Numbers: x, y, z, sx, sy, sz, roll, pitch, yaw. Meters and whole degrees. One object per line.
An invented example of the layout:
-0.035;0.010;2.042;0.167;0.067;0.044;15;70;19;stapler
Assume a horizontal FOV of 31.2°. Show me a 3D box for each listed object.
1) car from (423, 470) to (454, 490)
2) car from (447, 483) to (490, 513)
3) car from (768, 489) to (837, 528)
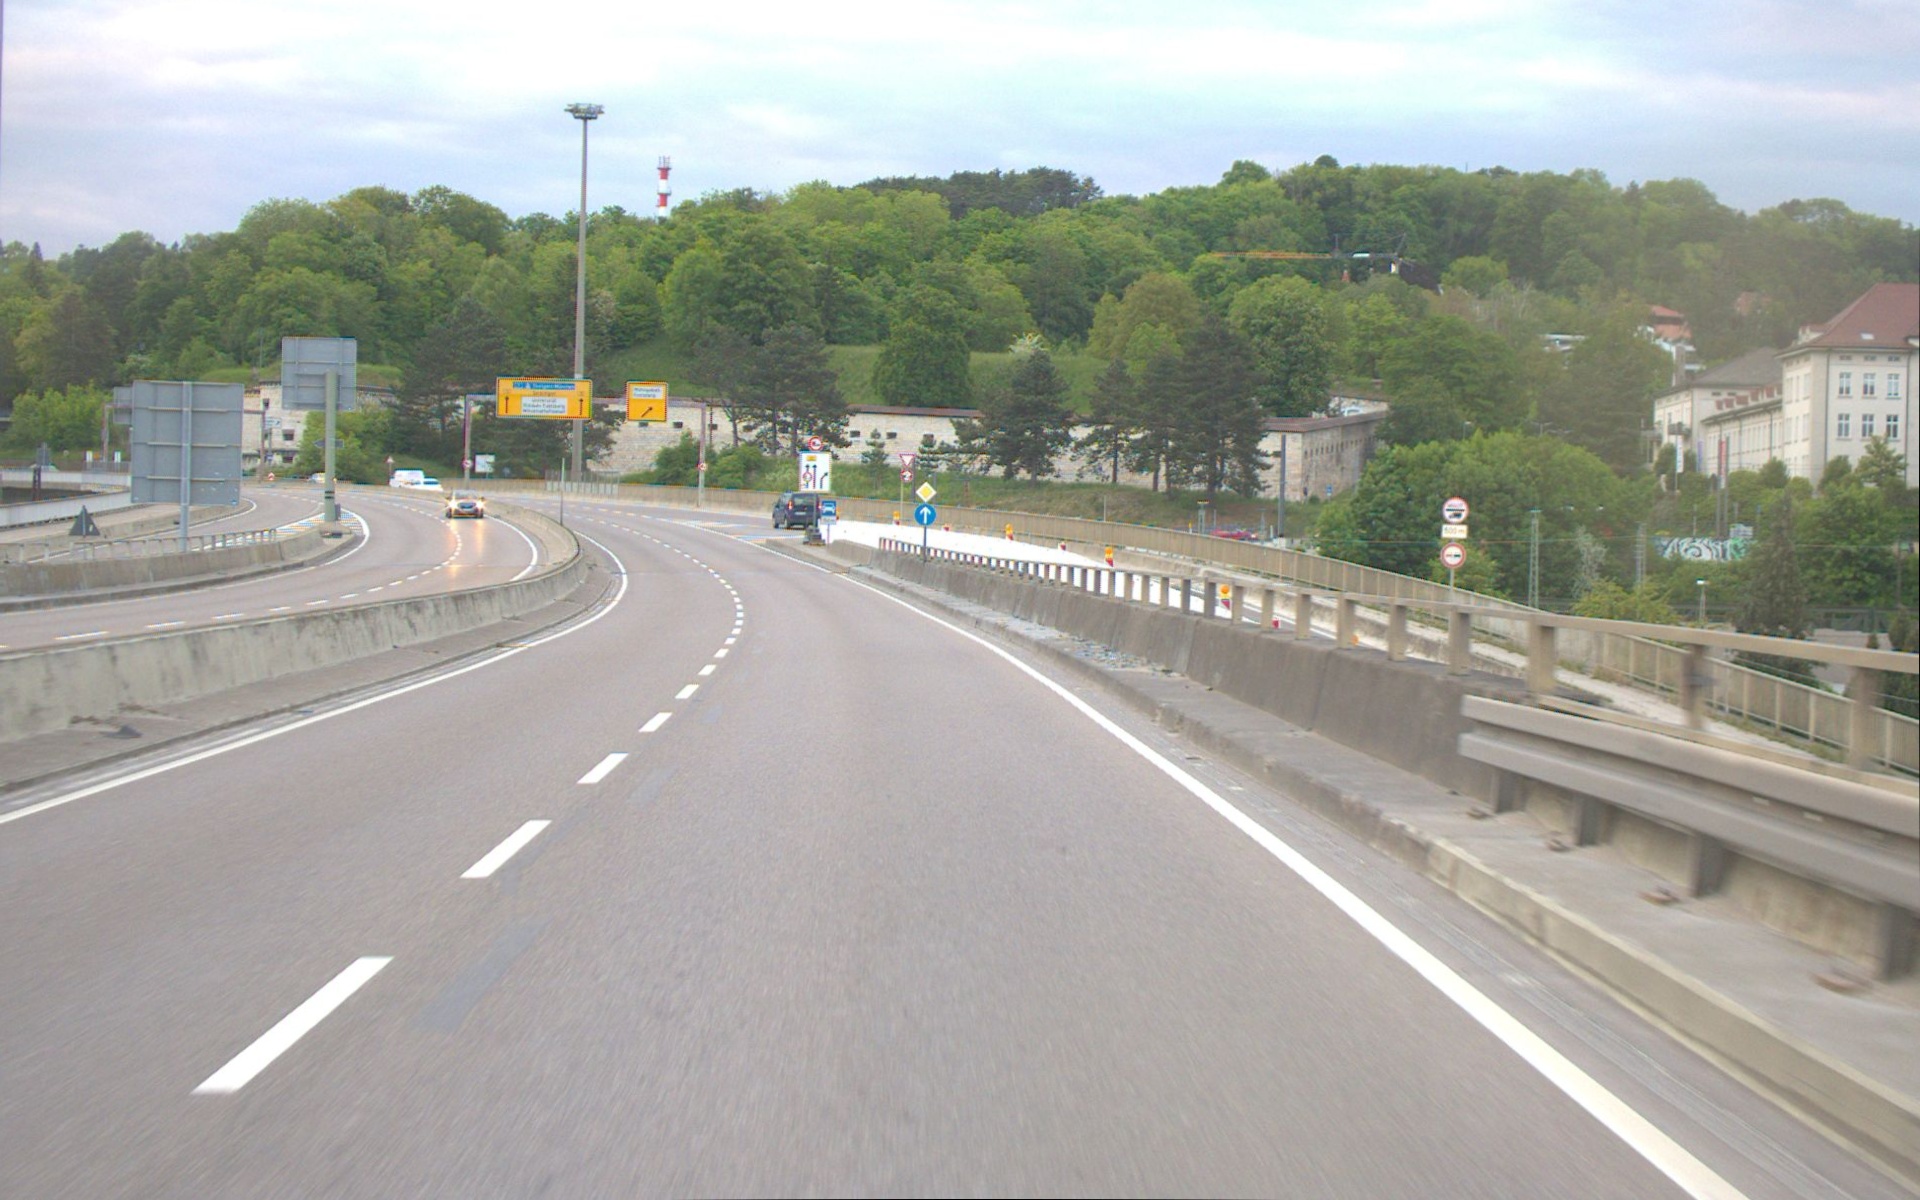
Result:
-37.092;-8.533;244.325;1.630;1.383;4.002;0;3;-16;car
-25.410;-5.242;177.677;1.828;1.475;4.288;1;1;-13;car
-7.750;-4.508;168.714;2.304;1.757;4.264;2;2;-18;car
